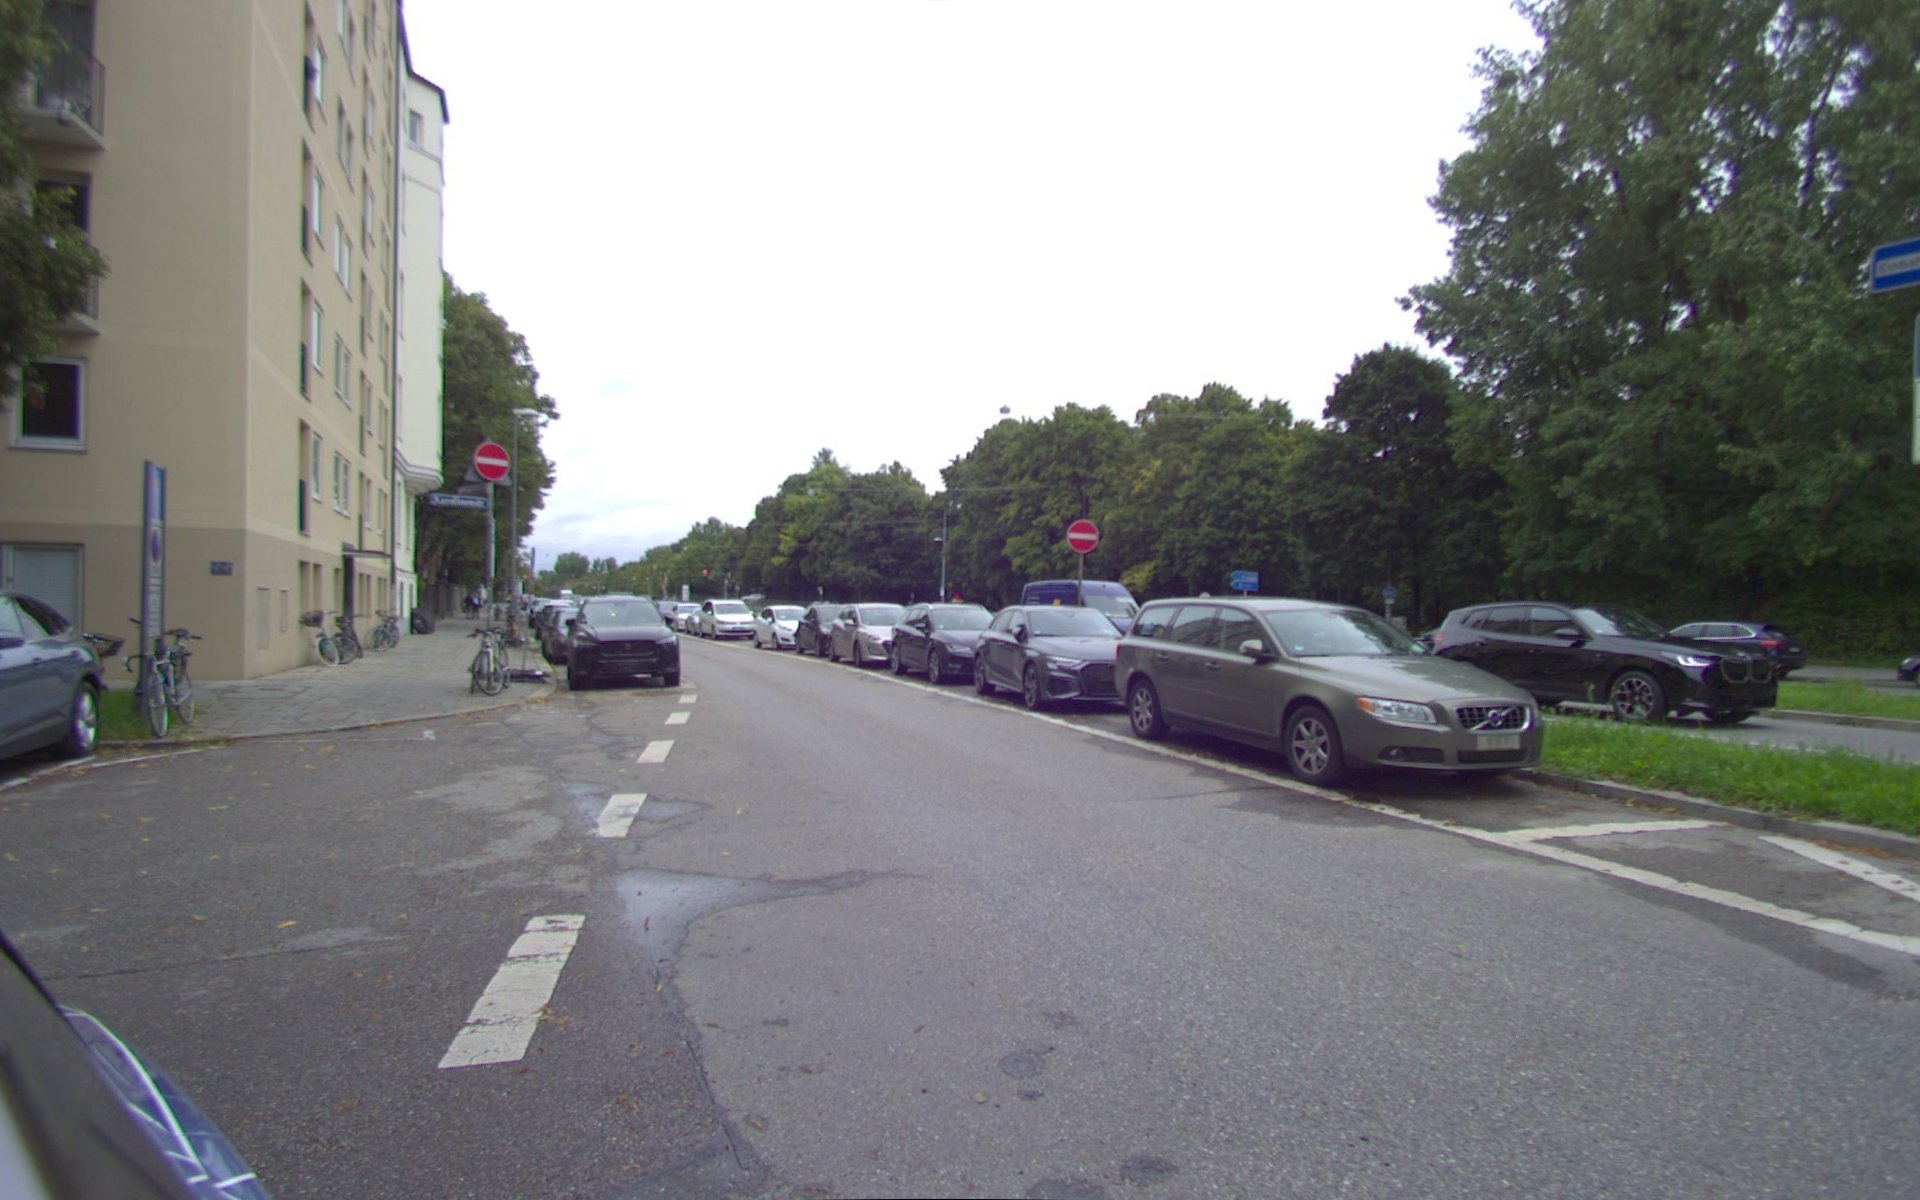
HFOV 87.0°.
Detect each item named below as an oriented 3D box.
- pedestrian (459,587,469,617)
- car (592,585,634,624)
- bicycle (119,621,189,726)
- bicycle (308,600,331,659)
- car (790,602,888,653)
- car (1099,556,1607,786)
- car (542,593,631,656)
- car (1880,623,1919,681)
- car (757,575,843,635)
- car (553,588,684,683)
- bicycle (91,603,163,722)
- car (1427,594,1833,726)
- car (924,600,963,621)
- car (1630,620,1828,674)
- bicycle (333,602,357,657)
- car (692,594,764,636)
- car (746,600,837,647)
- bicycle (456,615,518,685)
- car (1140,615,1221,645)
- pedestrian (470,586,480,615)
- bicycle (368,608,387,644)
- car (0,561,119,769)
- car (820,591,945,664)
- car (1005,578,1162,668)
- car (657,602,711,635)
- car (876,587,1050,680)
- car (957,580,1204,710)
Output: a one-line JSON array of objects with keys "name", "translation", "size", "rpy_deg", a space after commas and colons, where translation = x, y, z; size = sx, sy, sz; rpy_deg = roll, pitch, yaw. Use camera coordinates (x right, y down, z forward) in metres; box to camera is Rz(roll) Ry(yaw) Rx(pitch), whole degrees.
[{"name": "pedestrian", "translation": [-34.048, 0.128, 69.449], "size": [0.451, 2.029, 0.619], "rpy_deg": [1, -1, -40]}, {"name": "car", "translation": [-20.499, 0.239, 59.734], "size": [1.826, 2.227, 4.568], "rpy_deg": [1, 1, -25]}, {"name": "bicycle", "translation": [-8.806, 0.773, 11.086], "size": [0.277, 1.069, 1.243], "rpy_deg": [1, -1, -24]}, {"name": "bicycle", "translation": [-13.109, 0.588, 20.692], "size": [0.357, 1.180, 1.323], "rpy_deg": [1, -1, -33]}, {"name": "car", "translation": [-3.641, 0.762, 29.737], "size": [1.737, 1.380, 4.297], "rpy_deg": [1, 0, -23]}, {"name": "car", "translation": [3.174, 0.501, 9.485], "size": [1.872, 1.577, 4.785], "rpy_deg": [1, 0, -17]}, {"name": "car", "translation": [-10.532, 0.624, 28.357], "size": [2.094, 1.577, 4.522], "rpy_deg": [-1, 0, -23]}, {"name": "car", "translation": [25.914, 1.353, 24.836], "size": [1.965, 1.457, 4.540], "rpy_deg": [2, -1, -26]}, {"name": "car", "translation": [-5.800, 0.185, 36.363], "size": [1.965, 2.029, 4.013], "rpy_deg": [1, 0, -25]}, {"name": "car", "translation": [-6.551, 0.586, 19.157], "size": [2.094, 1.577, 4.522], "rpy_deg": [0, 0, -21]}, {"name": "bicycle", "translation": [-9.191, 0.652, 11.190], "size": [0.277, 1.240, 1.243], "rpy_deg": [1, -1, -24]}, {"name": "car", "translation": [9.400, 0.741, 14.814], "size": [1.886, 1.598, 4.845], "rpy_deg": [1, 0, -17]}, {"name": "car", "translation": [-1.417, 0.868, 84.714], "size": [1.853, 1.759, 4.013], "rpy_deg": [1, 0, -22]}, {"name": "car", "translation": [23.051, 1.376, 30.525], "size": [1.965, 1.457, 4.332], "rpy_deg": [2, -1, -26]}, {"name": "bicycle", "translation": [-13.595, 0.636, 22.356], "size": [0.394, 1.180, 1.323], "rpy_deg": [1, -1, -33]}, {"name": "car", "translation": [-10.294, 0.634, 44.597], "size": [2.040, 1.715, 5.107], "rpy_deg": [1, 0, -25]}, {"name": "car", "translation": [-5.803, 0.756, 34.414], "size": [1.959, 1.467, 4.297], "rpy_deg": [1, 0, -25]}, {"name": "bicycle", "translation": [-7.605, 0.783, 16.340], "size": [0.622, 1.045, 1.740], "rpy_deg": [1, -1, -16]}, {"name": "car", "translation": [11.802, 1.599, 54.549], "size": [1.965, 1.457, 4.332], "rpy_deg": [2, -1, -26]}, {"name": "pedestrian", "translation": [-33.847, 0.047, 70.581], "size": [0.451, 2.029, 0.619], "rpy_deg": [1, -1, -40]}, {"name": "bicycle", "translation": [-16.615, 0.728, 28.873], "size": [0.455, 1.012, 1.323], "rpy_deg": [1, -1, -29]}, {"name": "car", "translation": [-8.328, 0.481, 7.806], "size": [1.794, 1.577, 4.259], "rpy_deg": [1, 0, -25]}, {"name": "car", "translation": [-1.965, 0.601, 24.152], "size": [1.959, 1.577, 4.296], "rpy_deg": [1, 0, -19]}, {"name": "car", "translation": [3.620, 0.614, 31.034], "size": [2.153, 2.482, 5.871], "rpy_deg": [1, 1, -22]}, {"name": "car", "translation": [-14.841, 0.975, 54.288], "size": [2.040, 1.715, 4.574], "rpy_deg": [1, -1, -25]}, {"name": "car", "translation": [-0.090, 0.583, 19.457], "size": [1.959, 1.577, 4.296], "rpy_deg": [1, 0, -20]}, {"name": "car", "translation": [1.517, 0.559, 14.563], "size": [1.959, 1.577, 4.295], "rpy_deg": [1, 0, -17]}]
